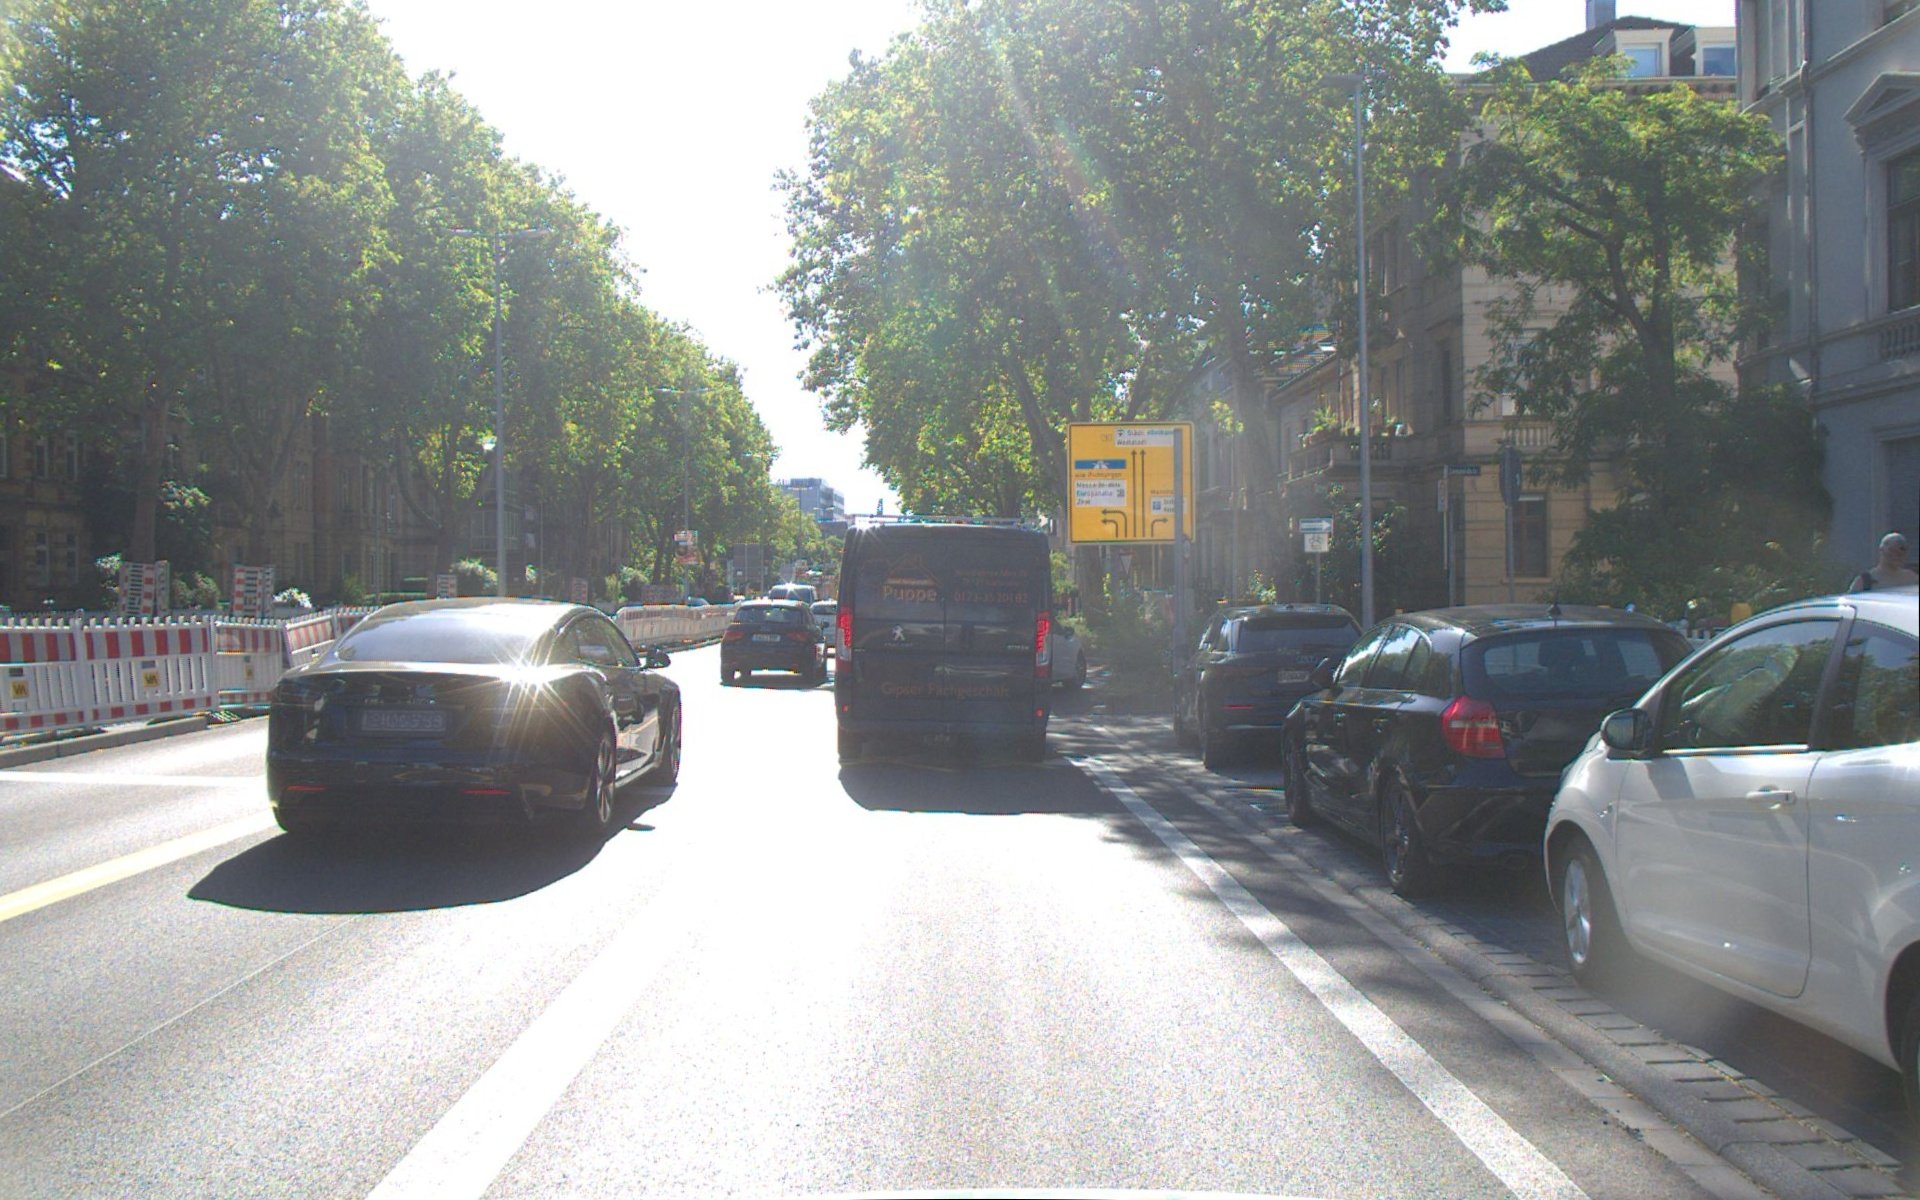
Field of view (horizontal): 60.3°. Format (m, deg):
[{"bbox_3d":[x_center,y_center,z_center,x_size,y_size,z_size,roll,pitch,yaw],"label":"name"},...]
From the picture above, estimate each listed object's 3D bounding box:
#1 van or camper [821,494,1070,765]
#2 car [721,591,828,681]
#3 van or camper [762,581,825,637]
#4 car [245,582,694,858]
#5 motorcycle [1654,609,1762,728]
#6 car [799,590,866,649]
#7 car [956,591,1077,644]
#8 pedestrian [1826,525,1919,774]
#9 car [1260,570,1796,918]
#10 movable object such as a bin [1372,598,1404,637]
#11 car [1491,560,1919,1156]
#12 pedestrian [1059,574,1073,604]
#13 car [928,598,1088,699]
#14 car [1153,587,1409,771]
[{"bbox_3d":[-0.213,0.264,16.910,2.200,2.387,4.535,0,0,-2],"label":"van or camper"},{"bbox_3d":[-3.315,0.616,30.122,1.587,1.512,3.733,1,0,-1],"label":"car"},{"bbox_3d":[-6.505,0.340,65.251,1.953,2.049,5.327,-1,0,-1],"label":"van or camper"},{"bbox_3d":[-3.049,0.657,11.312,1.800,1.509,4.475,0,0,-1],"label":"car"},{"bbox_3d":[8.009,0.707,17.774,0.584,1.207,1.556,0,0,6],"label":"motorcycle"},{"bbox_3d":[-3.442,0.509,45.069,1.587,1.512,3.733,1,0,-1],"label":"car"},{"bbox_3d":[1.964,0.608,56.623,3.902,1.596,1.780,3,-1,8],"label":"car"},{"bbox_3d":[7.272,0.372,12.879,0.651,1.881,0.694,-1,0,-1],"label":"pedestrian"},{"bbox_3d":[2.949,0.648,9.529,1.587,1.512,4.056,-2,0,-1],"label":"car"},{"bbox_3d":[10.821,0.438,41.842,0.673,0.987,0.548,-1,0,1],"label":"movable object such as a bin"},{"bbox_3d":[3.182,0.624,5.409,1.587,1.512,3.733,-2,0,-1],"label":"car"},{"bbox_3d":[8.393,-0.891,131.425,1.036,2.387,0.816,1,-1,2],"label":"pedestrian"},{"bbox_3d":[0.889,0.763,27.906,1.795,1.512,4.060,-1,1,15],"label":"car"},{"bbox_3d":[2.983,0.673,16.175,1.587,1.512,4.096,-2,0,-1],"label":"car"}]
